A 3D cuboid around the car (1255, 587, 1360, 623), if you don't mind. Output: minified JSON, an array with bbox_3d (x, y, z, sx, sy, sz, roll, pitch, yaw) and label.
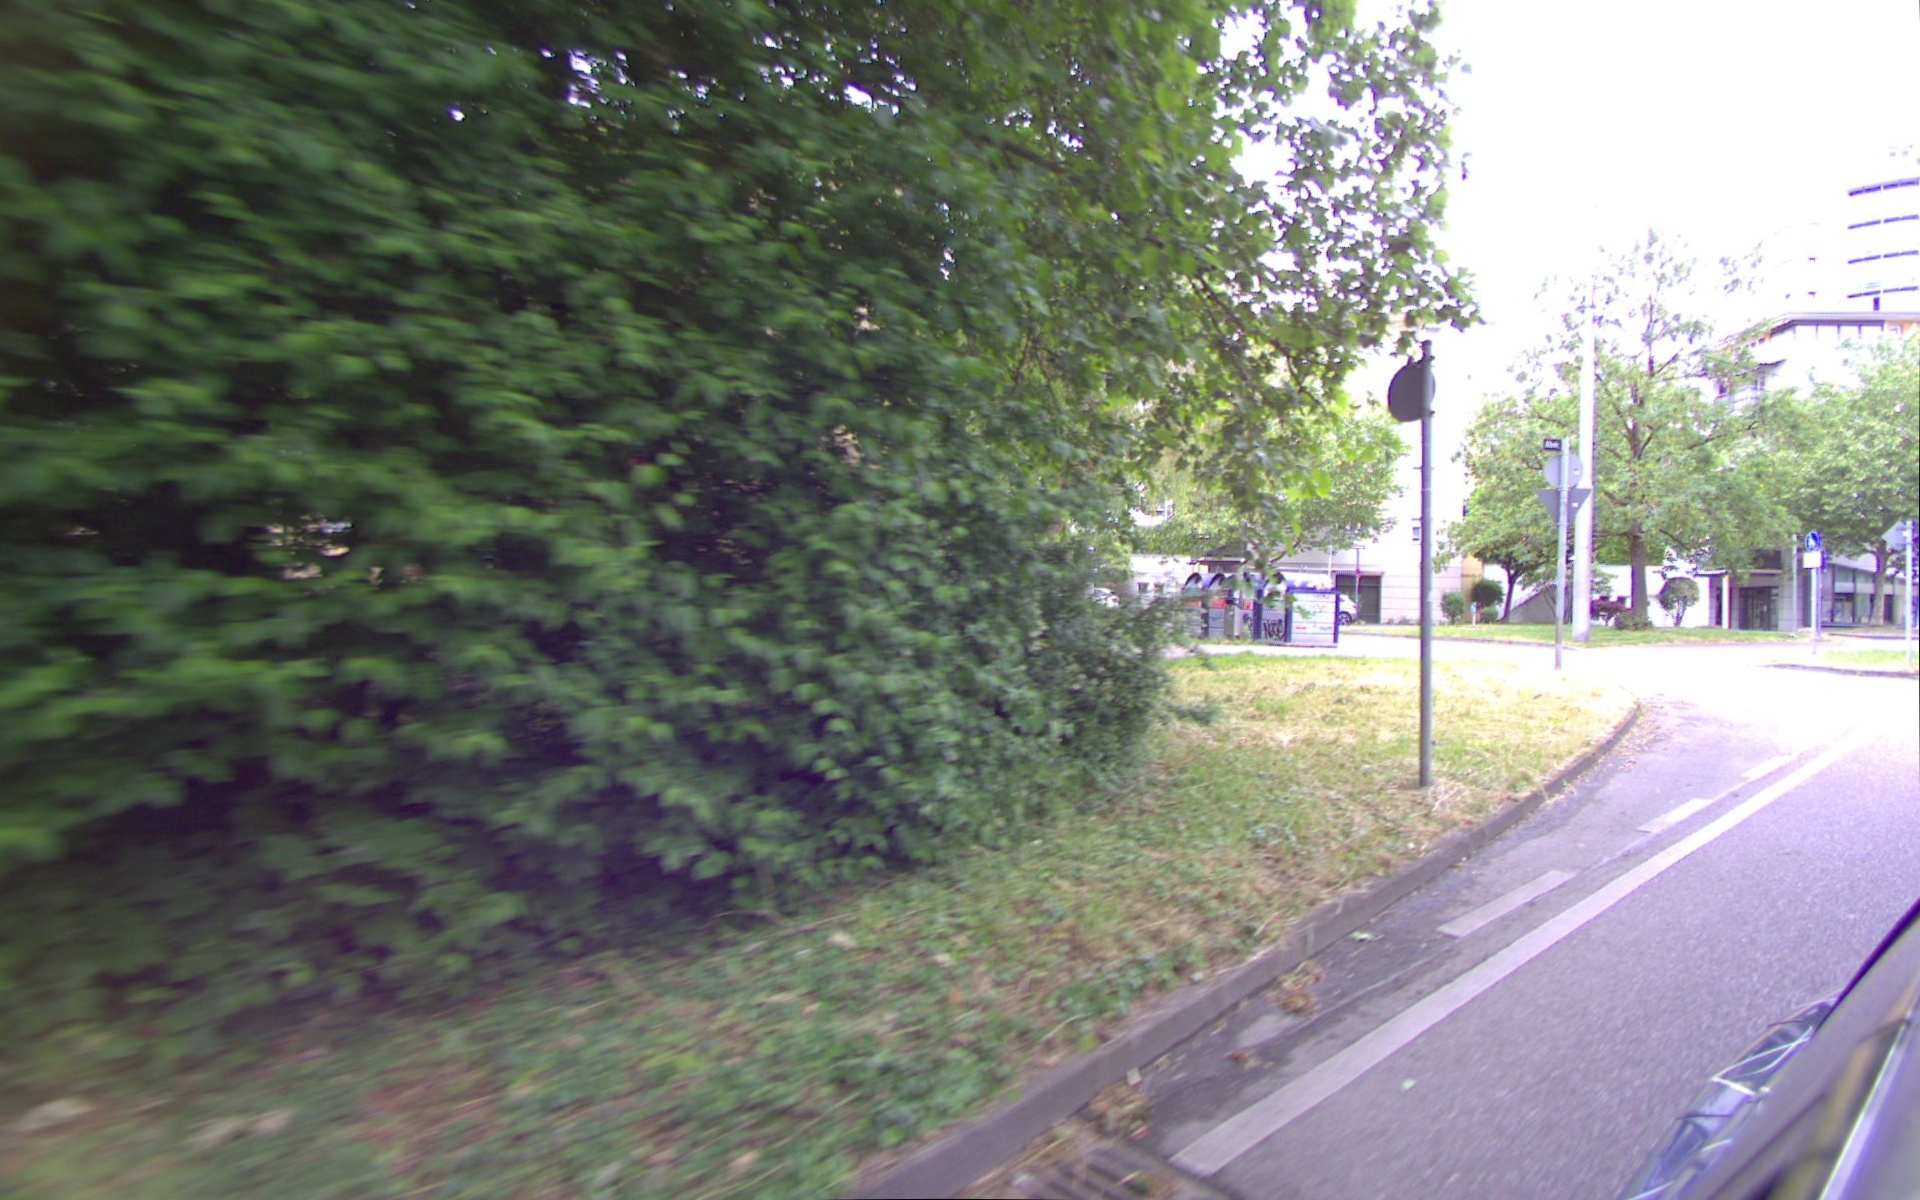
[{"bbox_3d":[15.729,0.219,45.941,4.166,1.529,1.798,1,0,4],"label":"car"}]

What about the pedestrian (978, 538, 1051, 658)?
[{"bbox_3d":[0.853,-0.032,15.844,0.755,1.818,0.883,0,0,39],"label":"pedestrian"}]

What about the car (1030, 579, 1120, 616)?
[{"bbox_3d":[5.283,-0.137,46.878,4.092,1.632,1.798,1,1,5],"label":"car"}]
